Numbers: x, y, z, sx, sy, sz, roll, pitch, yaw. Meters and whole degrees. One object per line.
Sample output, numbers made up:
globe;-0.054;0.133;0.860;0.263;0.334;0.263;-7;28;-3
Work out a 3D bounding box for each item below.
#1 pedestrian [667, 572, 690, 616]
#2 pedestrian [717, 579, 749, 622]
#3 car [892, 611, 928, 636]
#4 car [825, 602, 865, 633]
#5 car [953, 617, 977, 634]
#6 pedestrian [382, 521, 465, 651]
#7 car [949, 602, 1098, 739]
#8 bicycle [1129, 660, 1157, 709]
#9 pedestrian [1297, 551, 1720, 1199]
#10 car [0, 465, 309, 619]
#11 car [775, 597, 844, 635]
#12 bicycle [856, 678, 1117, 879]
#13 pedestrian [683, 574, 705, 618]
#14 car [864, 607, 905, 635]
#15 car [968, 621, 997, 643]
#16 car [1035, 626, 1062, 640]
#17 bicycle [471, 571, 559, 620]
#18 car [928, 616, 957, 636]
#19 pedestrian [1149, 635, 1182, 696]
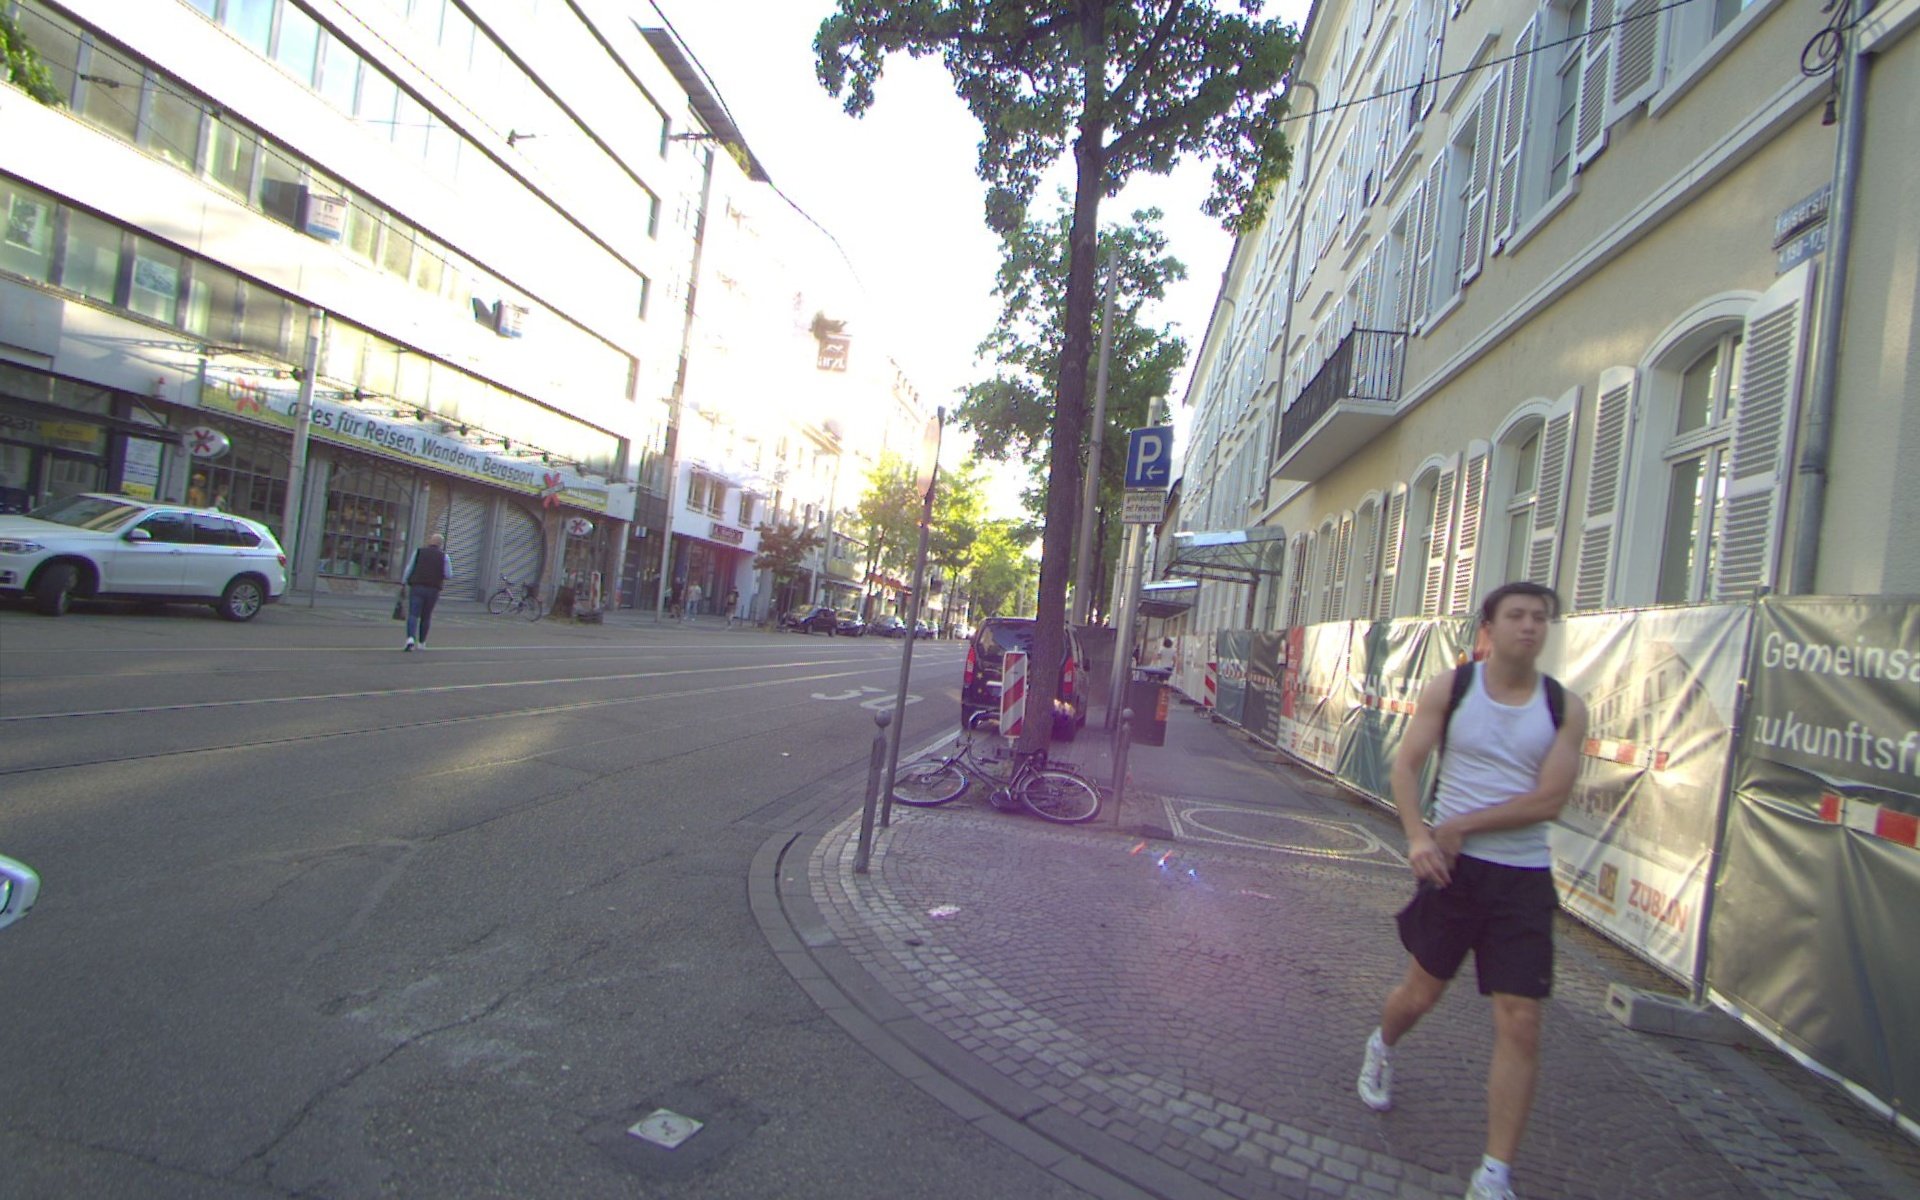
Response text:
pedestrian;-12.073;-0.249;43.161;0.618;1.798;0.814;7;1;-9
pedestrian;-10.175;0.016;45.078;0.790;1.798;0.972;8;1;21
car;-3.733;1.782;75.716;1.798;1.482;3.732;10;-1;10
car;-6.779;1.048;59.636;1.800;1.482;3.728;10;-1;-1
car;0.525;2.734;106.372;1.797;1.482;3.731;7;-1;10
pedestrian;-8.004;-0.221;14.993;0.798;1.799;1.062;6;1;-36
car;1.164;1.123;16.486;1.725;1.816;3.657;5;-2;13
bicycle;4.219;1.928;23.266;0.528;0.964;2.028;6;0;10
pedestrian;1.589;0.818;3.180;0.790;1.845;1.071;6;4;18
car;-12.888;-0.841;15.338;1.984;1.796;4.951;10;-1;9
car;-7.709;0.851;51.774;1.697;1.402;3.662;10;-1;23
bicycle;0.231;1.404;8.351;1.673;0.445;1.377;8;43;34
pedestrian;-11.413;-0.159;43.128;0.618;1.798;0.814;7;1;-9
car;-5.141;1.476;69.052;1.798;1.482;3.732;10;-1;10
car;1.949;2.738;85.328;1.870;1.579;3.878;6;-1;9
car;13.702;5.095;155.468;3.926;1.704;1.913;8;0;1
bicycle;-12.018;-0.123;27.175;1.989;0.964;0.670;10;1;7
car;-1.559;2.409;92.309;1.797;1.482;3.731;7;-1;10
pedestrian;6.407;2.029;31.447;0.790;1.799;0.973;4;1;6
